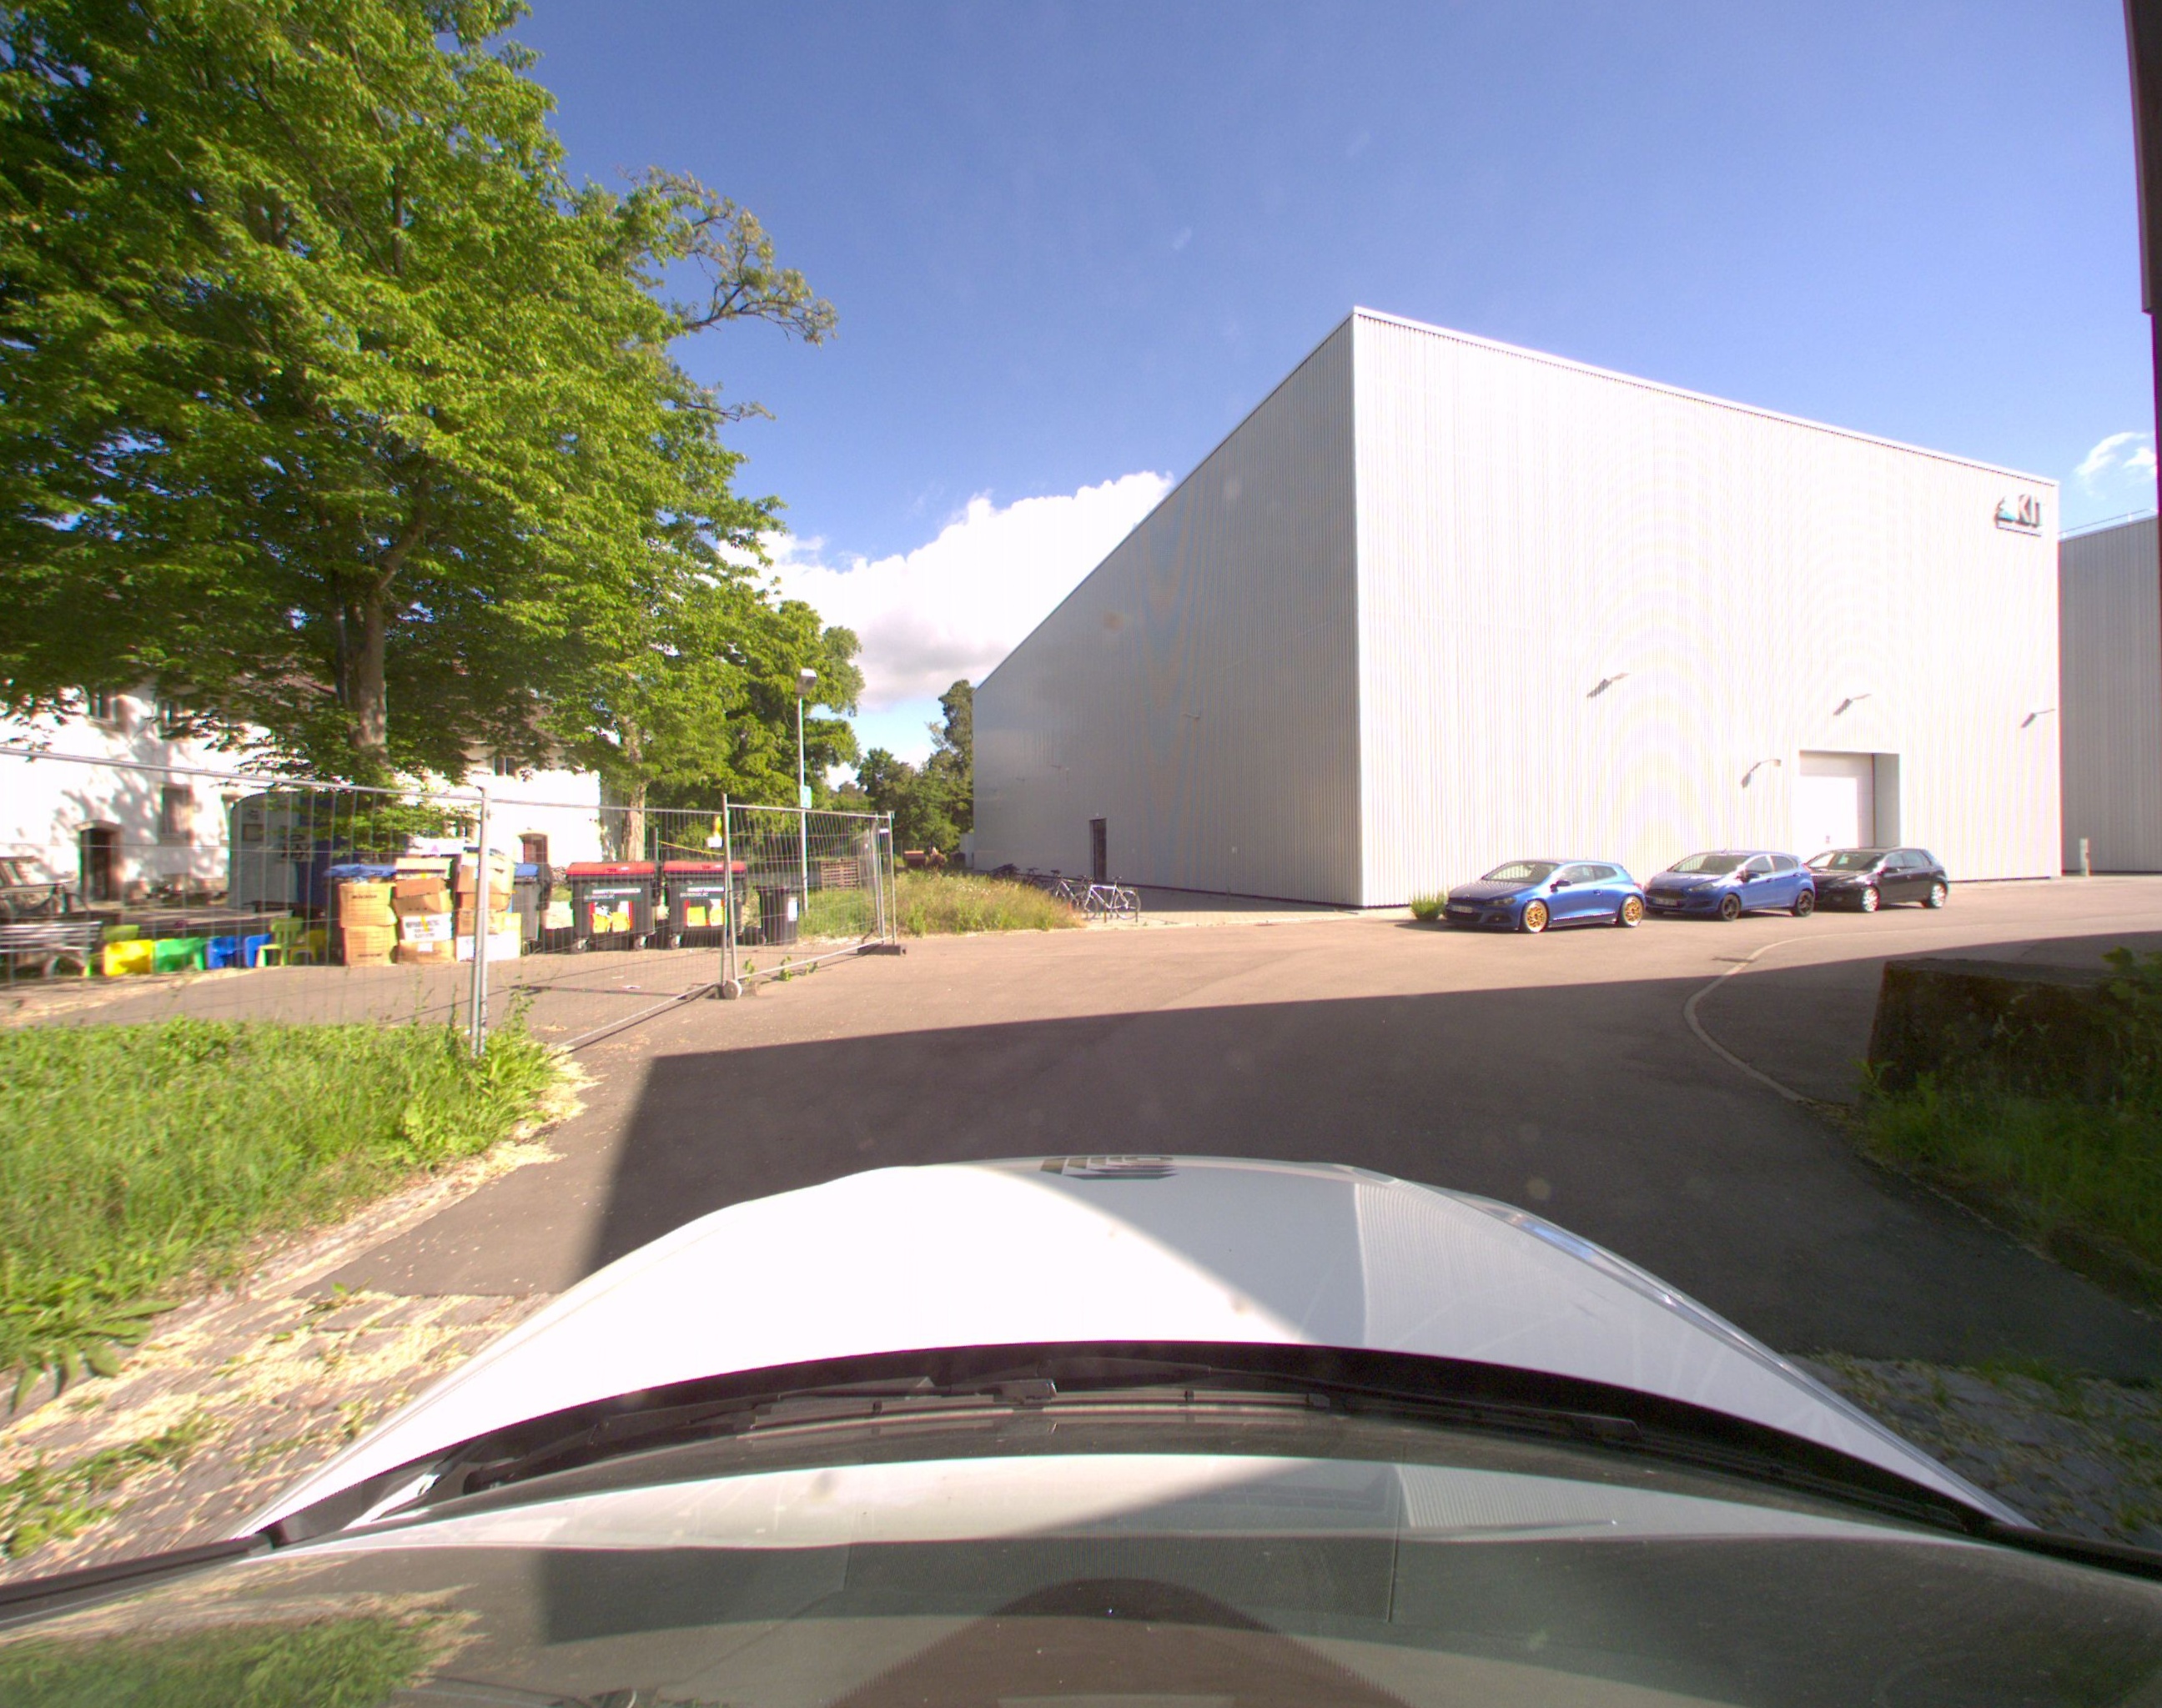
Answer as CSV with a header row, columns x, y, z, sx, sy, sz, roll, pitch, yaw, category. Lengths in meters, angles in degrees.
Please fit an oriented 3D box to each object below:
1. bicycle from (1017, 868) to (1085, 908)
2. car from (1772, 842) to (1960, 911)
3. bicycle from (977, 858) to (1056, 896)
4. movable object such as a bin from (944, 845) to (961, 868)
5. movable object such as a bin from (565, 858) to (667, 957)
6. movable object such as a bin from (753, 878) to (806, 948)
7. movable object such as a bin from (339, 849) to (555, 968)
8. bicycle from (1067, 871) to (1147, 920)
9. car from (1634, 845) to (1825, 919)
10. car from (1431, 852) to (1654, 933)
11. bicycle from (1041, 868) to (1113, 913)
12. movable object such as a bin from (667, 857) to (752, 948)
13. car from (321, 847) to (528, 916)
x,y,z,sx,sy,sz,roll,pitch,yaw,category
-0.871,0.973,23.658,1.894,1.095,0.522,-1,-1,-20,bicycle
18.914,0.488,19.635,3.877,1.445,1.646,-1,3,-19,car
-2.315,0.814,29.074,2.634,1.266,1.135,-1,0,-15,bicycle
-11.688,0.228,74.164,1.421,2.013,1.120,-1,0,-15,movable object such as a bin
-7.410,0.820,13.054,1.344,1.484,0.800,-1,0,-25,movable object such as a bin
-5.079,0.979,13.758,0.737,1.097,0.815,-1,0,-15,movable object such as a bin
-9.281,0.738,12.093,2.299,1.591,1.165,-1,0,-25,movable object such as a bin
0.611,0.938,18.784,1.807,1.062,0.456,-1,0,-24,bicycle
14.320,0.560,18.002,3.765,1.447,1.614,-1,1,-21,car
9.073,0.693,16.029,3.954,1.350,1.663,-1,2,-20,car
-0.099,0.939,21.242,1.796,1.082,0.522,-1,0,-17,bicycle
-6.153,0.773,13.530,1.250,1.444,0.697,-1,0,-25,movable object such as a bin
-20.852,0.829,26.145,4.730,1.902,1.985,-2,0,-23,car
